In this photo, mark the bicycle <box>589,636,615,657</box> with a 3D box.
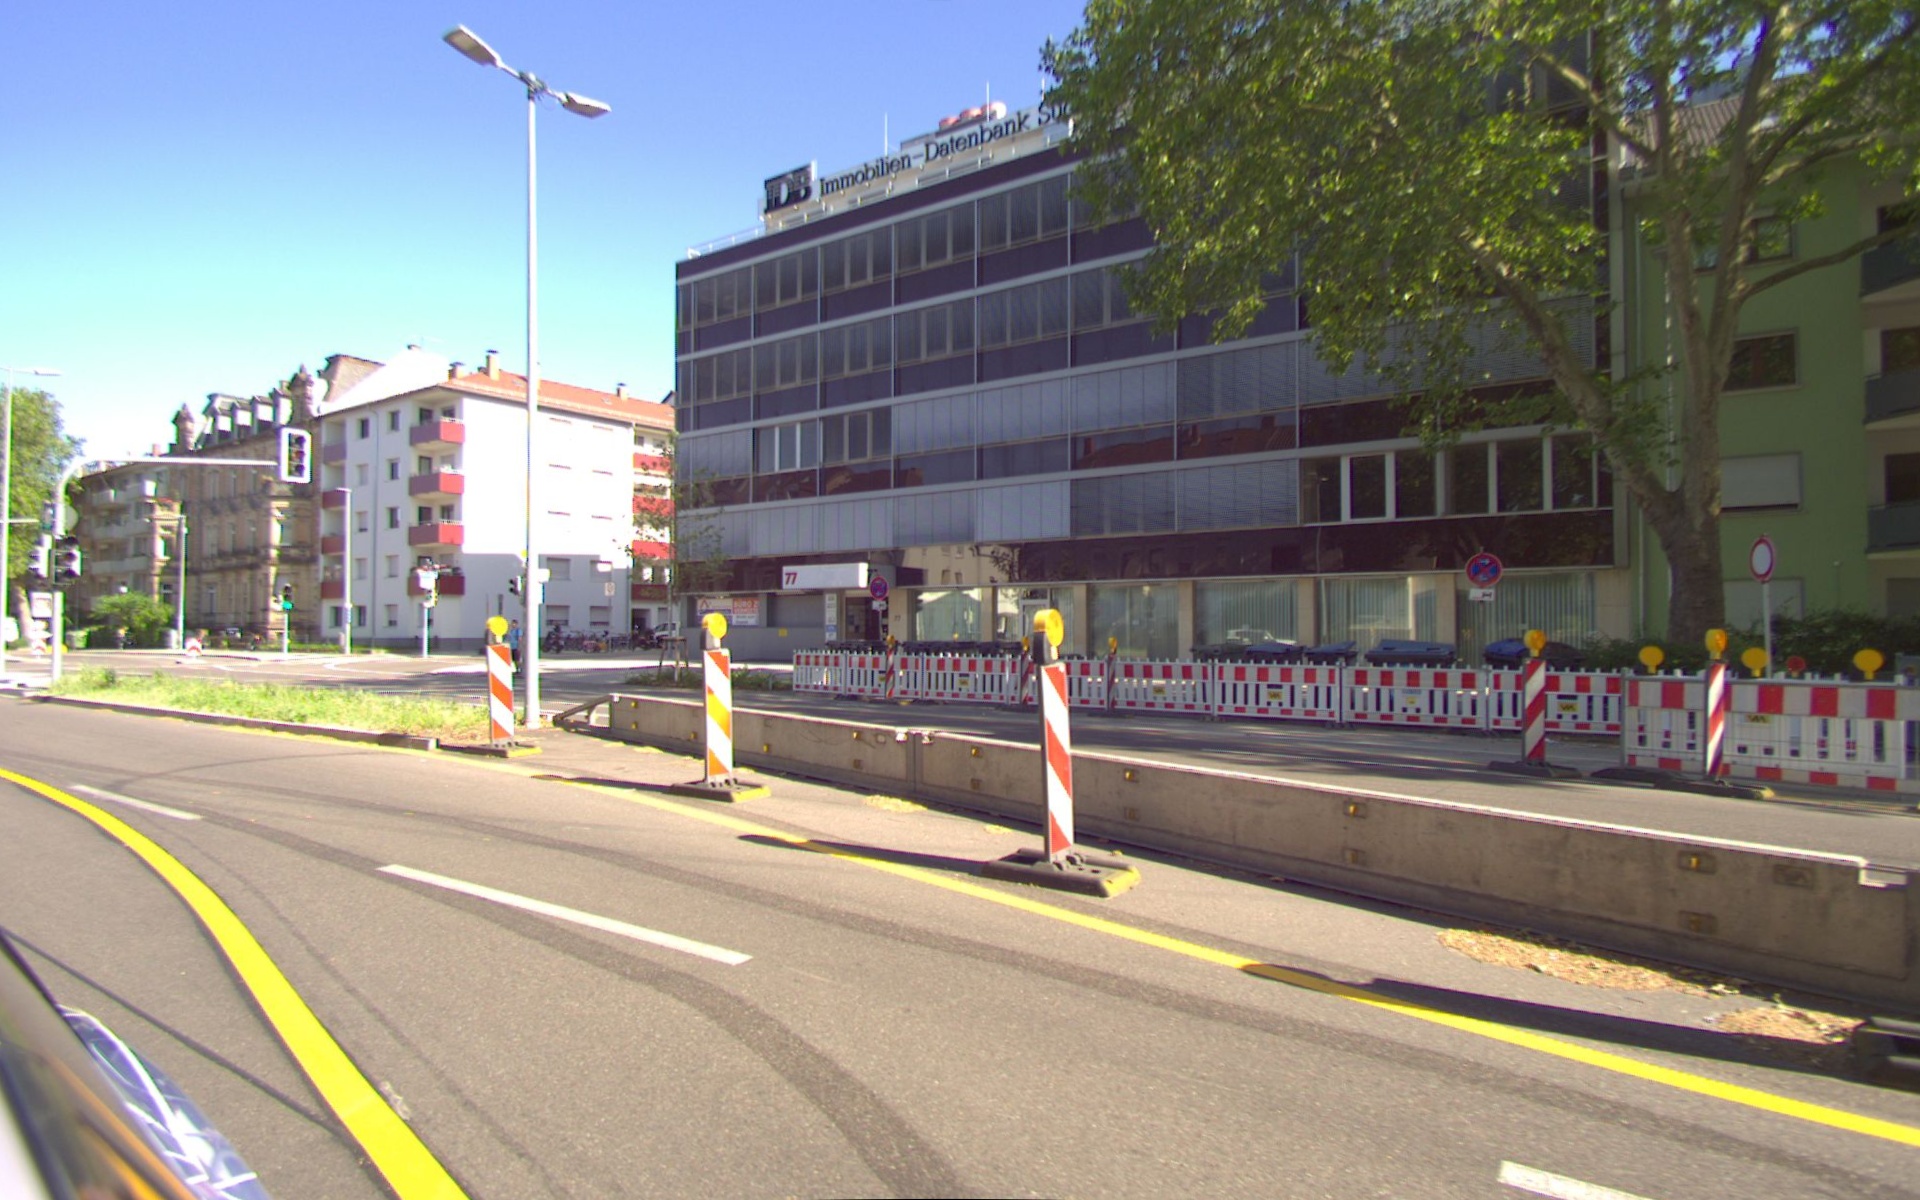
[{"bbox_3d":[-19.580,2.541,55.357,1.733,1.077,0.484,-2,-2,37],"label":"bicycle"}]

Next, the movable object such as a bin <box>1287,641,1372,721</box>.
[{"bbox_3d":[6.633,1.417,18.132,1.066,1.348,1.397,-2,-2,36],"label":"movable object such as a bin"}]

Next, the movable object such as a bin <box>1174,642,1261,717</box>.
[{"bbox_3d":[4.943,1.493,19.405,1.154,1.348,1.397,-2,-2,37],"label":"movable object such as a bin"}]

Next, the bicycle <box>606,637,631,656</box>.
[{"bbox_3d":[-18.987,2.566,56.238,1.735,1.011,0.503,-2,-2,40],"label":"bicycle"}]

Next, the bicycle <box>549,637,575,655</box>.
[{"bbox_3d":[-22.202,2.555,56.435,1.735,0.976,0.568,-2,-2,40],"label":"bicycle"}]

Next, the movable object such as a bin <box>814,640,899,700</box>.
[{"bbox_3d":[-2.556,1.707,24.951,1.852,1.399,1.104,-2,-2,36],"label":"movable object such as a bin"}]

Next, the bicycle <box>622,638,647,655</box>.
[{"bbox_3d":[-18.254,2.590,56.731,1.720,0.955,0.454,-2,-2,37],"label":"bicycle"}]

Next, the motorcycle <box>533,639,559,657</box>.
[{"bbox_3d":[-21.722,2.501,53.074,1.841,0.943,0.497,-2,-2,42],"label":"motorcycle"}]

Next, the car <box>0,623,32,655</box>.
[{"bbox_3d":[-78.321,3.236,82.949,5.275,2.465,2.225,-3,-5,36],"label":"car"}]

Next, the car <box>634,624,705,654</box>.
[{"bbox_3d":[-17.408,2.341,60.548,4.477,1.744,1.973,-2,-2,41],"label":"car"}]

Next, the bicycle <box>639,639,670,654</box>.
[{"bbox_3d":[-17.314,2.635,57.337,1.705,0.820,0.413,-1,-2,11],"label":"bicycle"}]

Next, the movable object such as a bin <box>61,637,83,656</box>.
[{"bbox_3d":[-66.885,3.496,76.233,1.470,1.371,0.885,-3,-5,36],"label":"movable object such as a bin"}]

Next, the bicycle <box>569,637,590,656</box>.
[{"bbox_3d":[-20.374,2.473,54.120,0.500,0.985,1.888,1,-2,-39],"label":"bicycle"}]

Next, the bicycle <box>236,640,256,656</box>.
[{"bbox_3d":[-42.440,2.859,60.163,1.935,0.965,0.302,-2,-3,35],"label":"bicycle"}]

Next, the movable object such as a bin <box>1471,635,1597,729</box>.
[{"bbox_3d":[9.334,1.301,16.565,1.248,1.433,1.631,-1,-2,9],"label":"movable object such as a bin"}]

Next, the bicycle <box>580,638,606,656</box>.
[{"bbox_3d":[-19.728,2.532,54.347,1.952,0.955,0.471,-2,-2,44],"label":"bicycle"}]

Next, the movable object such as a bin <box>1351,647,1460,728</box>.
[{"bbox_3d":[7.557,1.446,17.178,1.536,1.280,0.971,-2,-2,35],"label":"movable object such as a bin"}]

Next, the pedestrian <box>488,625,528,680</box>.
[{"bbox_3d":[-14.624,1.684,32.755,1.012,1.724,0.855,-2,-3,42],"label":"pedestrian"}]

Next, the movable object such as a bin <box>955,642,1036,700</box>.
[{"bbox_3d":[0.808,1.564,22.673,1.239,1.212,1.381,-2,-2,37],"label":"movable object such as a bin"}]

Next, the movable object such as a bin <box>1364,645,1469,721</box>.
[{"bbox_3d":[8.125,1.444,18.011,1.536,1.280,0.971,-2,-2,35],"label":"movable object such as a bin"}]

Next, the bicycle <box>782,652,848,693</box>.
[{"bbox_3d":[-3.936,1.953,27.413,1.875,1.045,0.621,-2,-2,36],"label":"bicycle"}]

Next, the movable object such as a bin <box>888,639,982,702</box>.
[{"bbox_3d":[-0.592,1.624,23.697,1.852,1.399,1.203,-2,-2,36],"label":"movable object such as a bin"}]

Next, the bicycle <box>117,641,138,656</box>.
[{"bbox_3d":[-58.563,3.399,71.189,2.243,1.013,0.463,-2,-1,33],"label":"bicycle"}]

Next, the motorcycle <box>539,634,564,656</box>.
[{"bbox_3d":[-22.068,2.432,54.636,1.783,1.150,0.604,-2,-2,44],"label":"motorcycle"}]

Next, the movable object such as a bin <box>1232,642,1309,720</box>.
[{"bbox_3d":[5.725,1.454,18.629,0.934,1.348,1.397,-2,-2,36],"label":"movable object such as a bin"}]

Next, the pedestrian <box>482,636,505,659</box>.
[{"bbox_3d":[-23.389,2.368,50.711,0.783,1.162,0.714,-1,-2,22],"label":"pedestrian"}]

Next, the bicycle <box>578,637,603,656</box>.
[{"bbox_3d":[-21.150,2.635,57.965,1.689,1.066,0.568,-2,-2,40],"label":"bicycle"}]

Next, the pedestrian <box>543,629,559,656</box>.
[{"bbox_3d":[-23.389,2.430,57.923,0.693,1.508,0.594,-2,-2,38],"label":"pedestrian"}]

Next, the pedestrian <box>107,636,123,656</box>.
[{"bbox_3d":[-59.162,3.236,70.879,1.087,1.388,0.562,-2,-2,33],"label":"pedestrian"}]
